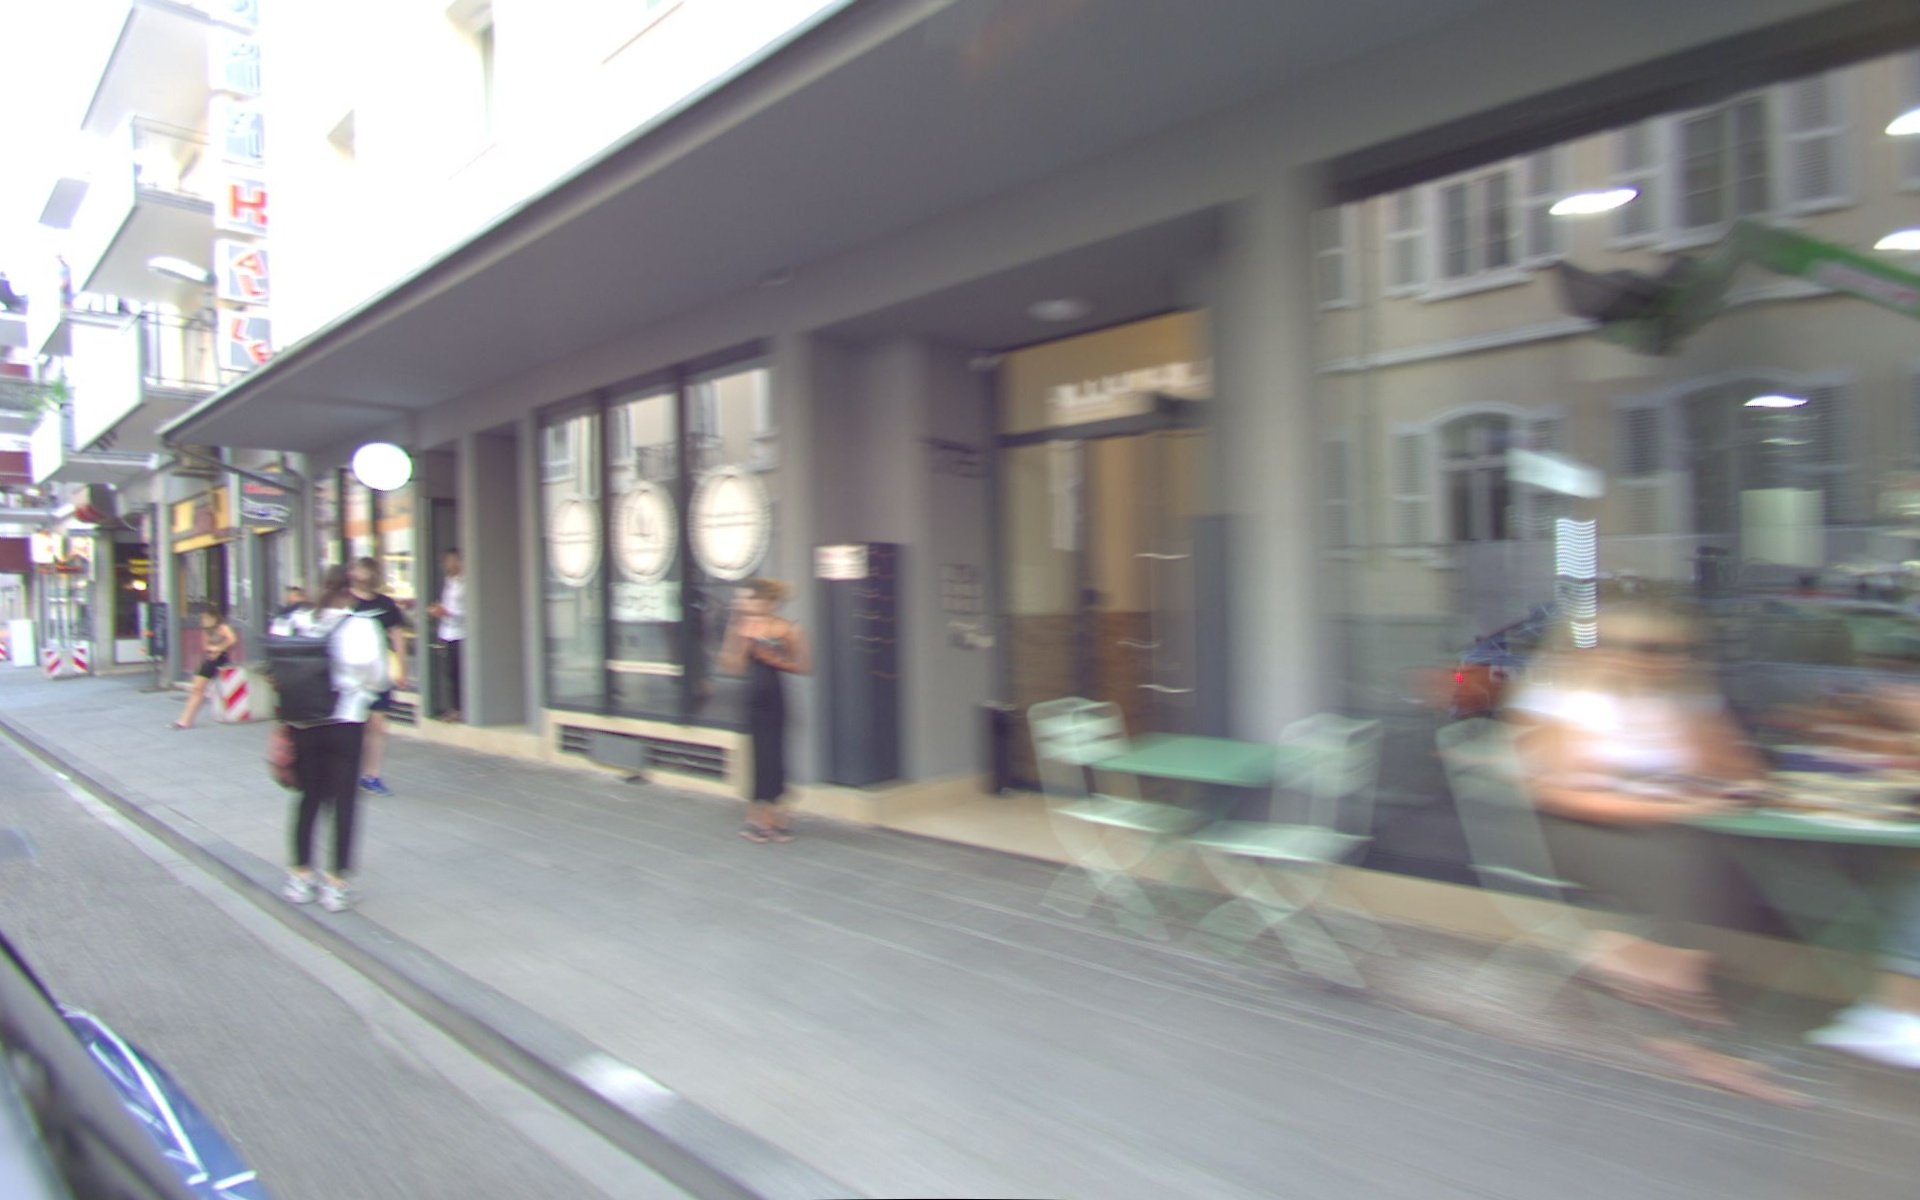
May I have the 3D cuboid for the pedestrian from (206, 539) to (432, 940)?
[{"bbox_3d":[-3.157,0.624,4.988,0.785,1.753,0.748,-2,-3,45],"label":"pedestrian"}]

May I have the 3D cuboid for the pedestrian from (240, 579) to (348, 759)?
[{"bbox_3d":[-6.999,0.690,10.634,0.932,1.795,0.696,-2,0,42],"label":"pedestrian"}]

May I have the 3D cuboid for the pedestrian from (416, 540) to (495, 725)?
[{"bbox_3d":[-5.173,0.328,10.387,0.613,1.824,0.538,-2,-2,42],"label":"pedestrian"}]

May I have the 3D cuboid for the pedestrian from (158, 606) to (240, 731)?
[{"bbox_3d":[-10.201,0.891,13.573,0.612,1.590,0.702,-2,1,39],"label":"pedestrian"}]

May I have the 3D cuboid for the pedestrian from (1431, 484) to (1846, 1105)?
[{"bbox_3d":[2.054,0.488,3.097,0.695,1.559,0.862,-2,0,-40],"label":"pedestrian"}]

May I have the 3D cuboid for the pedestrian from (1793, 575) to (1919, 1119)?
[{"bbox_3d":[2.733,0.577,2.463,0.854,1.296,0.702,-2,0,18],"label":"pedestrian"}]

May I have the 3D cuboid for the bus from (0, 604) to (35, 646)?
[{"bbox_3d":[-79.941,1.962,78.086,3.891,3.350,12.464,0,0,17],"label":"bus"}]

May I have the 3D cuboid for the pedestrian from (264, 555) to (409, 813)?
[{"bbox_3d":[-4.771,0.600,7.737,0.932,1.824,0.706,-2,-1,43],"label":"pedestrian"}]

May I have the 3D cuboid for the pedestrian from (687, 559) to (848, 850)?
[{"bbox_3d":[-1.102,0.572,5.889,0.632,1.581,0.655,-2,0,16],"label":"pedestrian"}]
